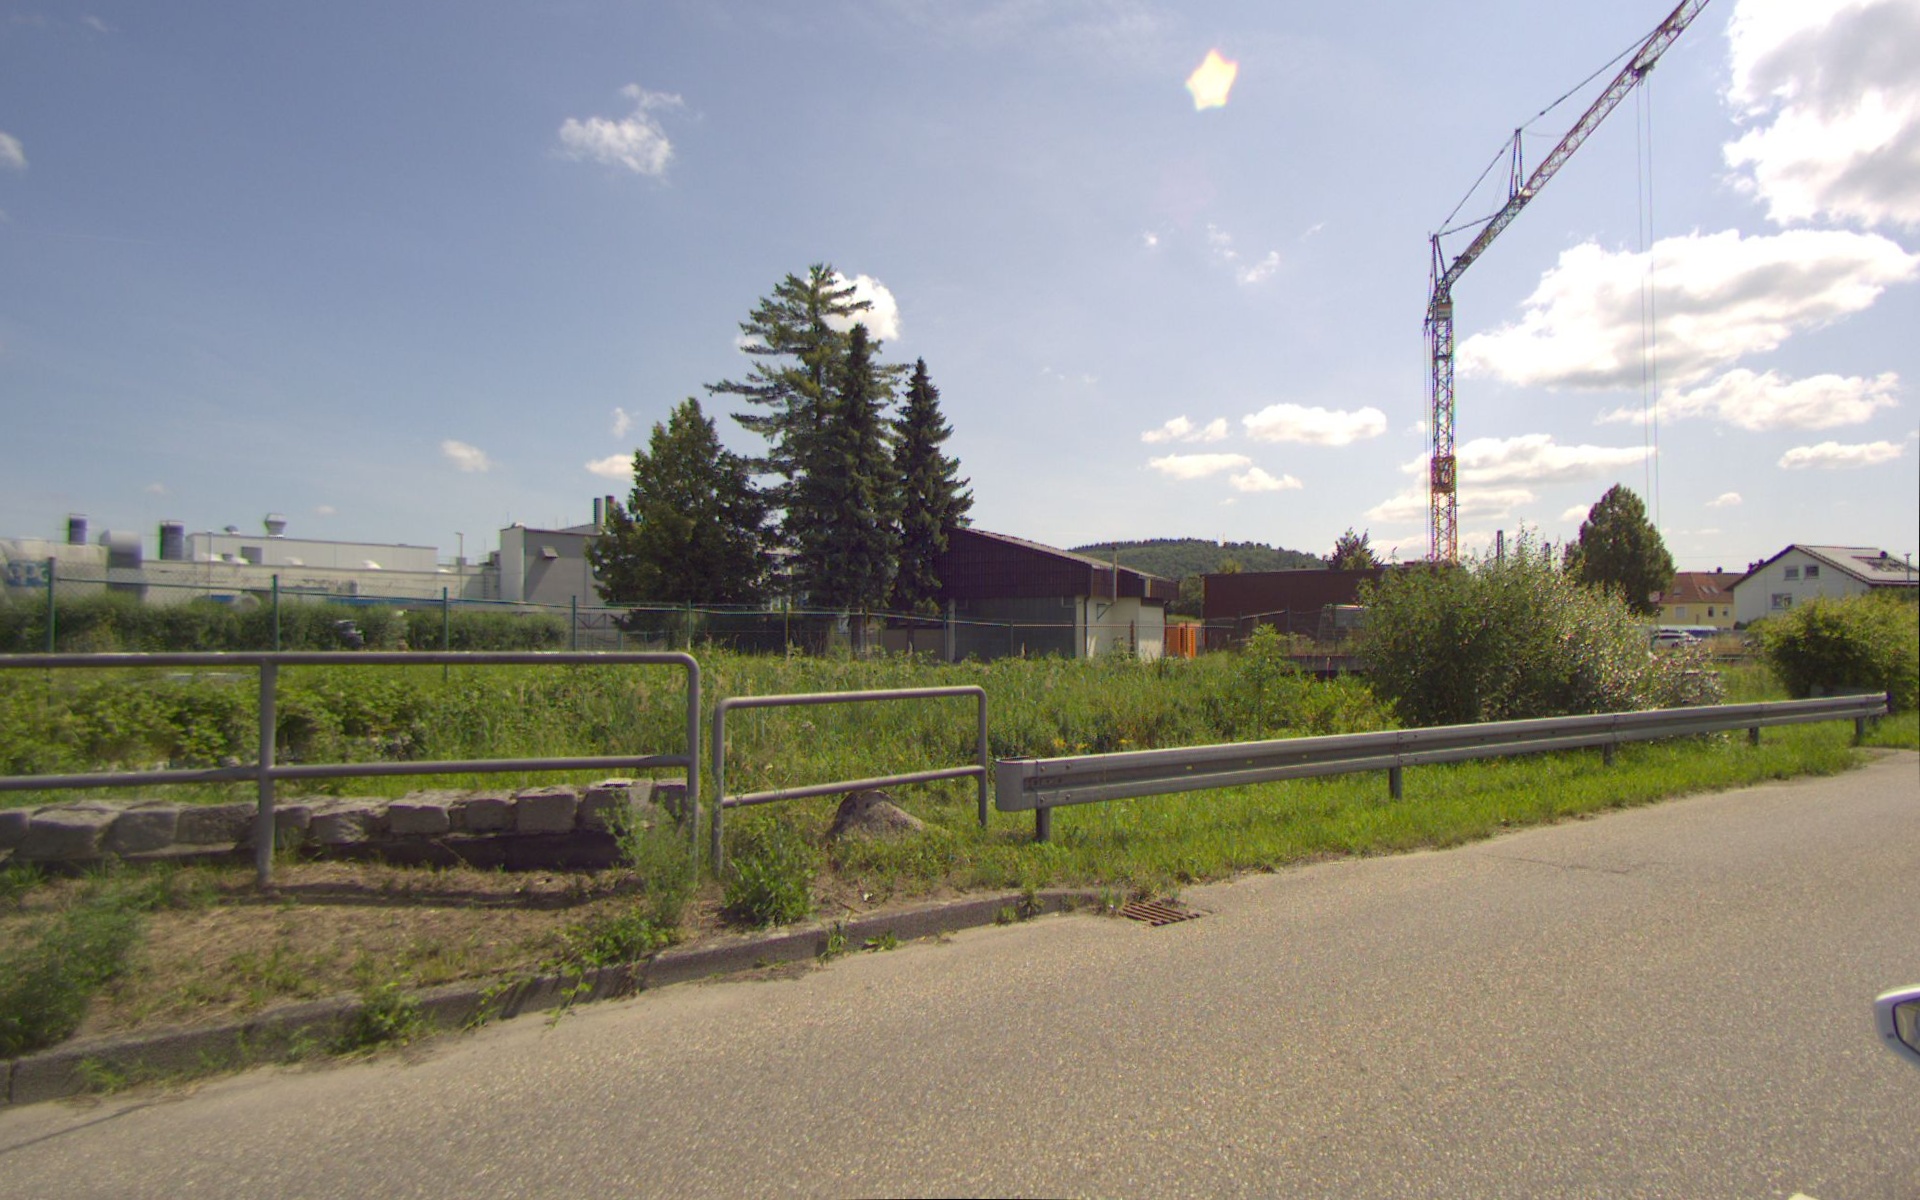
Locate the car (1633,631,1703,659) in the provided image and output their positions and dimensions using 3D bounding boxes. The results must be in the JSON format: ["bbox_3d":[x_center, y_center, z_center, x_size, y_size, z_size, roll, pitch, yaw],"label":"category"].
[{"bbox_3d":[55.178,3.483,78.354,4.336,2.040,1.995,-1,-2,32],"label":"car"}]
